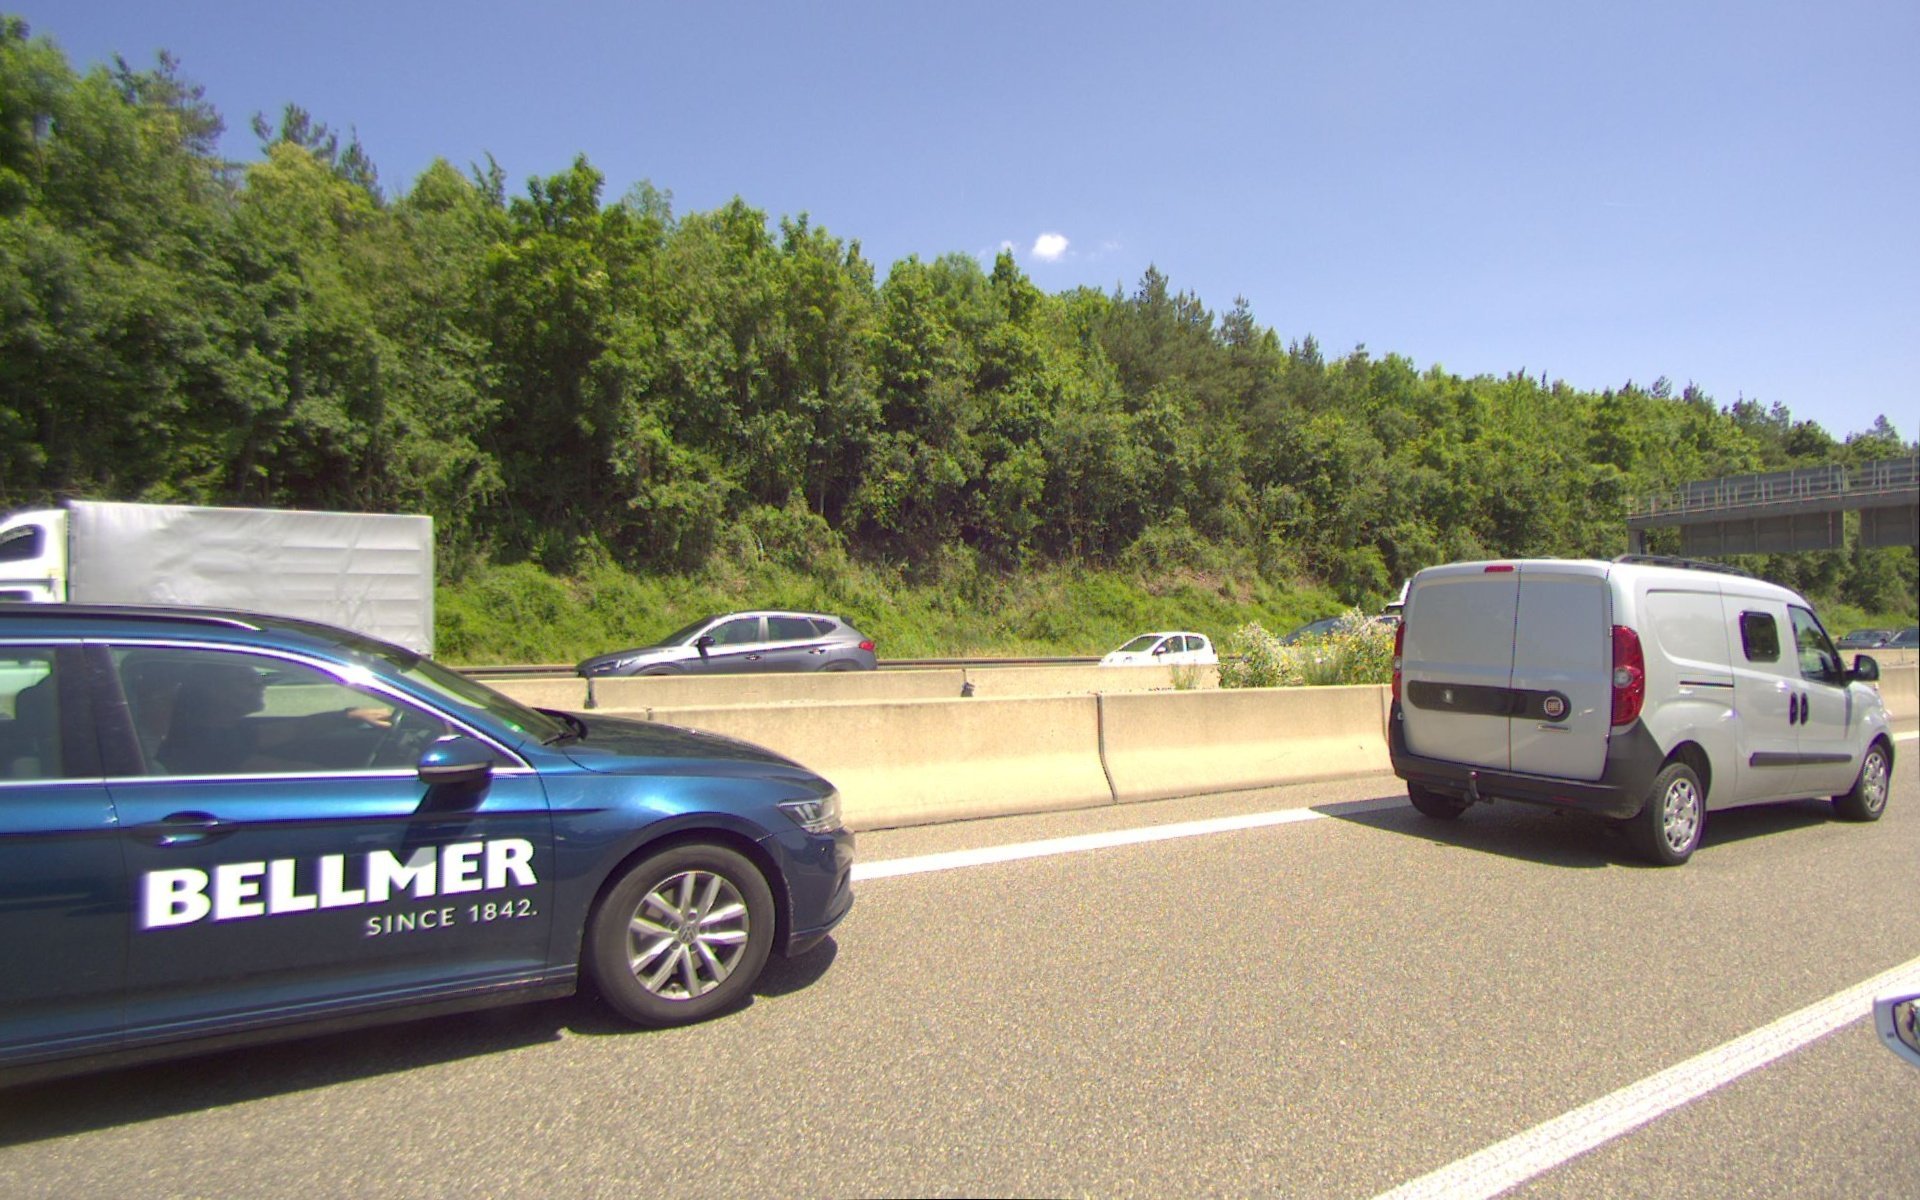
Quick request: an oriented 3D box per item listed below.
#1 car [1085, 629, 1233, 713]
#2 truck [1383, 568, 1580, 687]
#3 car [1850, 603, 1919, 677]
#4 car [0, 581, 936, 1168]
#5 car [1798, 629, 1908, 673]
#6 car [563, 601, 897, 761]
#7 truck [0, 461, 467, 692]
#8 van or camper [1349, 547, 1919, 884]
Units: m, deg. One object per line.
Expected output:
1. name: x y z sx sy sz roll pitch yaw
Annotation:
1. car: 5.302 1.866 26.711 3.472 2.040 1.842 2 -1 -30
2. truck: 19.390 1.071 37.182 7.899 4.042 2.679 2 -1 -31
3. car: 28.007 1.177 29.227 3.953 2.040 1.984 2 -1 -30
4. car: -2.553 0.695 3.507 4.624 1.469 1.865 2 -1 -31
5. car: 33.647 1.928 37.841 3.954 1.539 1.984 2 -1 -31
6. car: -3.338 1.112 14.770 4.367 2.040 1.984 2 -1 -30
7. truck: -11.010 -0.227 14.619 6.667 2.922 2.166 2 -1 -32
8. van or camper: 5.231 0.708 7.616 4.508 1.905 1.844 2 0 -30
